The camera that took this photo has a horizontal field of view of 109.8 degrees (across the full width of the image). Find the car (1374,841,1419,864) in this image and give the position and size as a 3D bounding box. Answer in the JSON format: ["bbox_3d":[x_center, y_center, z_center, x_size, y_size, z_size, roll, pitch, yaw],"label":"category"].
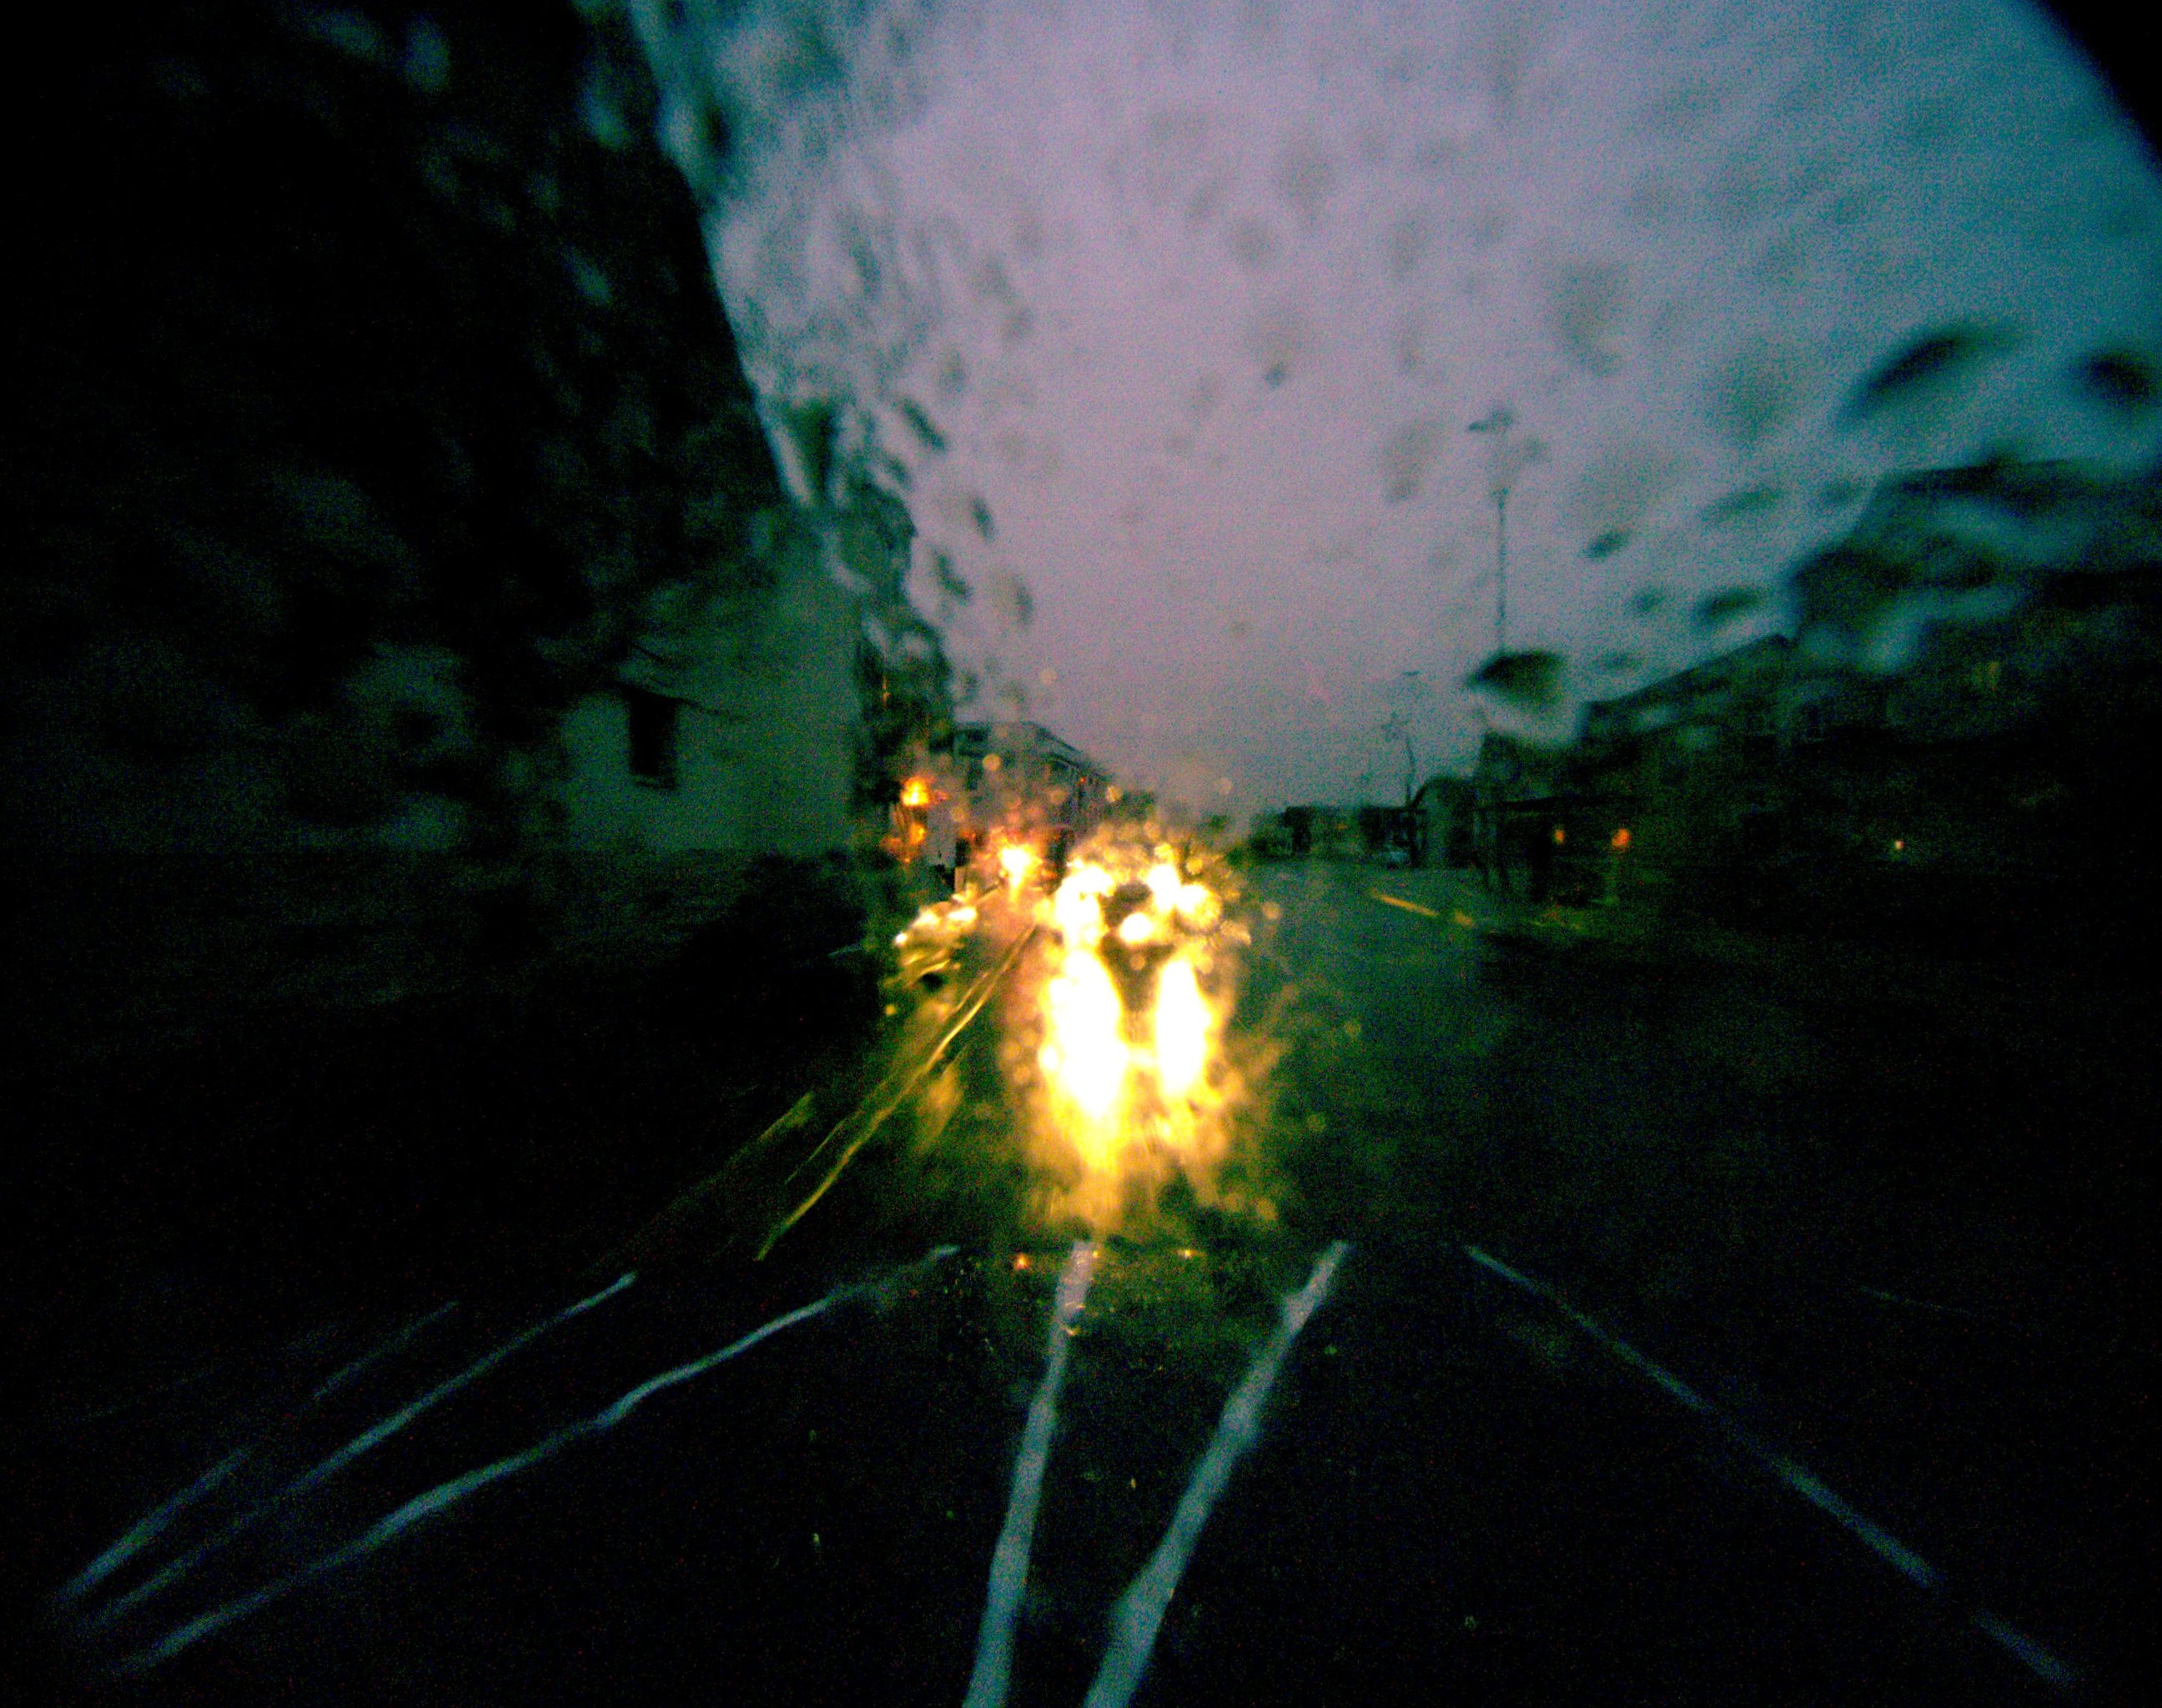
[{"bbox_3d":[29.042,-0.176,70.061,1.936,1.871,3.866,-3,3,-11],"label":"car"}]

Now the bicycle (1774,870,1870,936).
[{"bbox_3d":[12.774,0.813,13.153,0.470,1.004,1.741,0,1,19],"label":"bicycle"}]

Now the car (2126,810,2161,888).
[{"bbox_3d":[27.180,-0.130,17.561,3.422,1.843,1.514,0,2,11],"label":"car"}]

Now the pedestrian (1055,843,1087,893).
[{"bbox_3d":[-0.360,0.502,28.079,0.769,1.752,0.789,-5,5,-44],"label":"pedestrian"}]

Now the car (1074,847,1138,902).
[{"bbox_3d":[0.742,0.580,24.627,1.763,1.471,4.017,-2,2,-2],"label":"car"}]

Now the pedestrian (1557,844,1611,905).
[{"bbox_3d":[10.915,0.436,16.510,0.687,1.264,0.750,-2,1,7],"label":"pedestrian"}]

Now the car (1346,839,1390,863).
[{"bbox_3d":[26.360,-0.331,69.832,1.926,2.003,3.966,-3,3,-11],"label":"car"}]

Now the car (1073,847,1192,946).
[{"bbox_3d":[0.879,0.703,14.834,1.958,1.576,4.109,-2,1,0],"label":"car"}]

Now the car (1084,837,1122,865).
[{"bbox_3d":[1.328,-0.219,46.321,2.171,1.469,3.998,-2,3,2],"label":"car"}]

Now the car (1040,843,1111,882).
[{"bbox_3d":[-0.352,0.332,34.557,2.030,1.471,4.550,-3,3,-16],"label":"car"}]

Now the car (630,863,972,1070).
[{"bbox_3d":[-2.466,0.884,7.935,1.732,1.456,4.200,2,0,4],"label":"car"}]

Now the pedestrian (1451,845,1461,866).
[{"bbox_3d":[29.763,0.139,60.271,0.582,1.602,0.500,-2,3,7],"label":"pedestrian"}]

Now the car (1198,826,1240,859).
[{"bbox_3d":[9.360,-0.823,51.371,2.055,1.976,4.541,-1,3,19],"label":"car"}]

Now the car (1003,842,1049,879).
[{"bbox_3d":[-2.994,0.299,40.711,1.827,1.736,3.994,-3,3,-12],"label":"car"}]

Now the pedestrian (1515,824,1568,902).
[{"bbox_3d":[10.498,0.206,17.338,0.749,1.732,0.687,-2,1,2],"label":"pedestrian"}]

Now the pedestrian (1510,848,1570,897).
[{"bbox_3d":[11.138,0.452,18.481,0.990,1.151,0.903,-2,-1,12],"label":"pedestrian"}]

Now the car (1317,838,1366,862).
[{"bbox_3d":[23.724,-0.422,69.326,1.974,1.984,3.991,-4,3,-24],"label":"car"}]

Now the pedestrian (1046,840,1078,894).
[{"bbox_3d":[-0.687,0.444,27.243,0.711,1.856,0.789,-6,5,-44],"label":"pedestrian"}]
